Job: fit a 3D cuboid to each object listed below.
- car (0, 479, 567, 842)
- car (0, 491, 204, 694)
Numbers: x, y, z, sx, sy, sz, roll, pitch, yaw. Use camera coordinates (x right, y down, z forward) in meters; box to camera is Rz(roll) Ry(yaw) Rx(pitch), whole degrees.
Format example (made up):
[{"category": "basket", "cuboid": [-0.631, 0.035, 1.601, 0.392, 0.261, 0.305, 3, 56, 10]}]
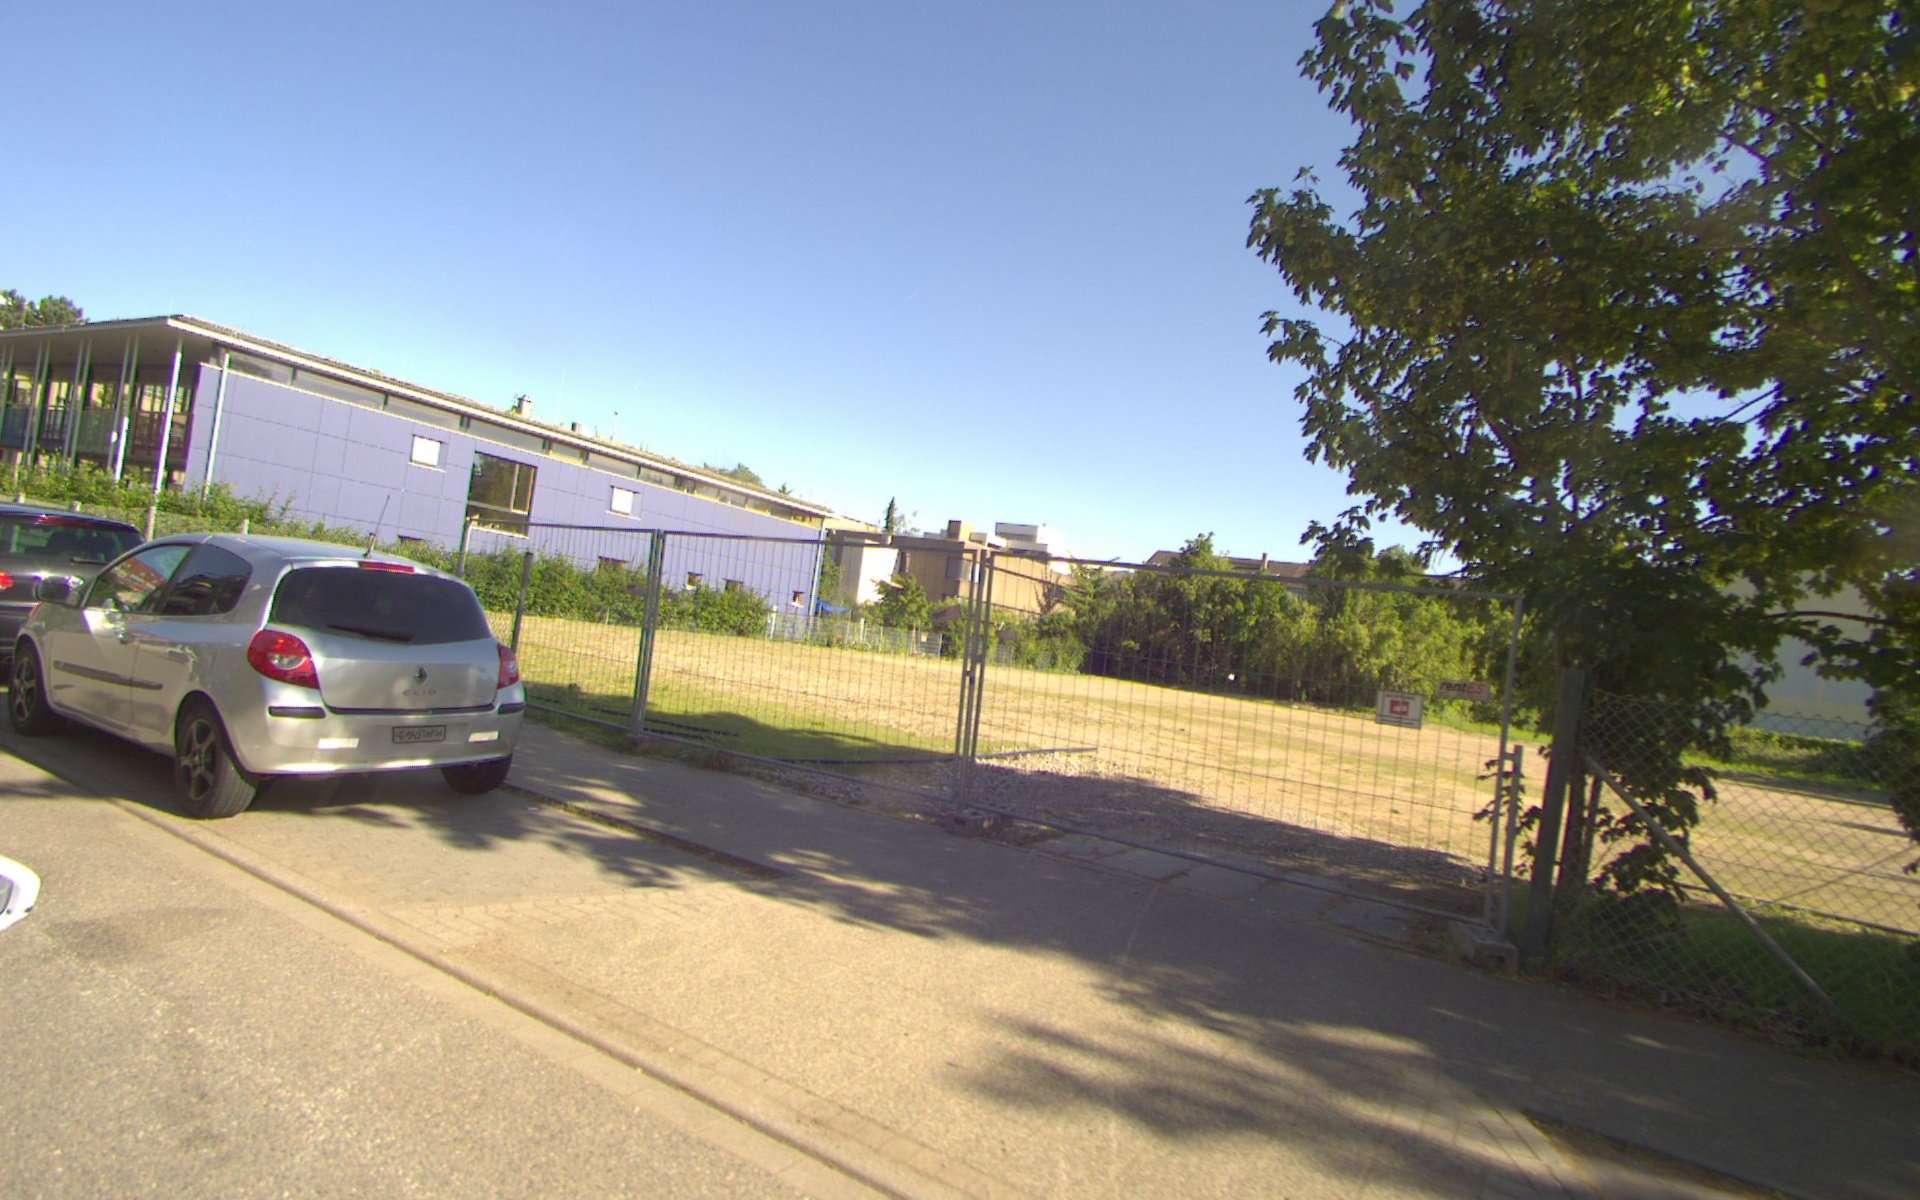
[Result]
[{"category": "car", "cuboid": [-4.622, 0.253, 6.574, 3.934, 1.530, 1.666, 8, -1, 32]}, {"category": "car", "cuboid": [-8.810, -0.204, 9.068, 4.010, 1.511, 1.691, 6, -2, 31]}]
